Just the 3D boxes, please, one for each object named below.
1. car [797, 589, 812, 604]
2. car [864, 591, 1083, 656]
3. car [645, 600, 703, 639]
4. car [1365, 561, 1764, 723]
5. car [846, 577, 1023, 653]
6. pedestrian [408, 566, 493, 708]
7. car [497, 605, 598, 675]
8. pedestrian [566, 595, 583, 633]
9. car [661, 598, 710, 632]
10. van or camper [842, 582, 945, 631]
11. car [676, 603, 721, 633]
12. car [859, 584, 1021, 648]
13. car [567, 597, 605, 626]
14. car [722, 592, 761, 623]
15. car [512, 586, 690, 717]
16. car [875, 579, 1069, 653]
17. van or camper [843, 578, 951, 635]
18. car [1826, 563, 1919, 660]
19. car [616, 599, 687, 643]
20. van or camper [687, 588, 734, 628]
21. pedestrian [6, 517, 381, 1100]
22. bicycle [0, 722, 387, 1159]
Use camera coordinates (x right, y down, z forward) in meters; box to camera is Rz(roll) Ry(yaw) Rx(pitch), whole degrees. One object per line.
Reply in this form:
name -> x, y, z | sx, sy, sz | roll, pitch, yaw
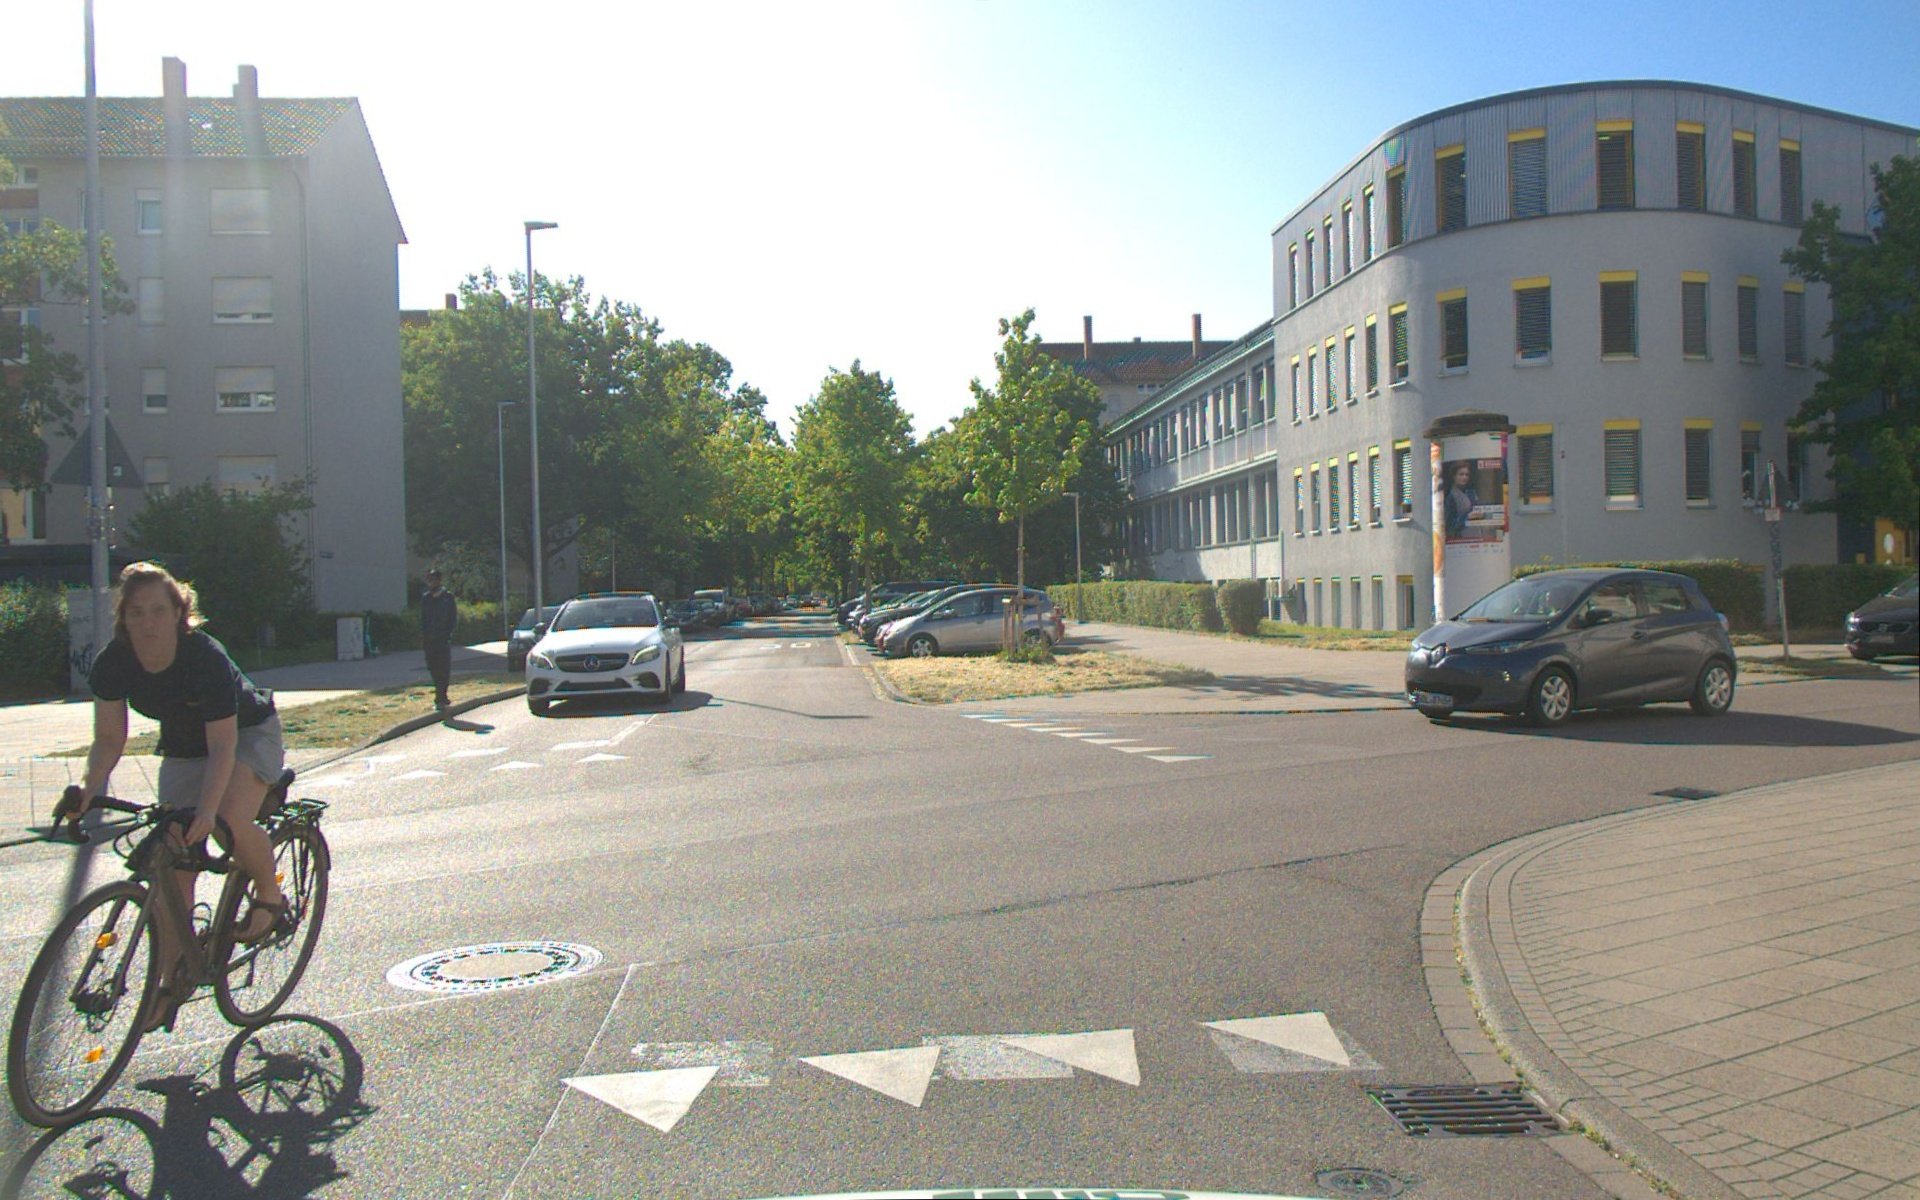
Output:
car -> -20.204, -0.458, 214.912 | 1.955, 1.777, 3.996 | -1, 1, -5
car -> 0.277, 0.523, 37.947 | 4.780, 1.296, 1.725 | -2, 0, -9
car -> -11.158, 0.756, 64.721 | 1.806, 1.422, 3.997 | -1, 0, -4
car -> 6.419, 0.390, 17.489 | 4.081, 1.530, 1.824 | 0, 0, -31
car -> -0.679, 0.375, 41.068 | 4.198, 1.795, 1.997 | 1, -1, -7
pedestrian -> -6.484, 0.459, 21.106 | 0.854, 1.744, 0.977 | -1, 0, -8
car -> -9.037, 0.842, 36.522 | 1.635, 1.445, 3.994 | 1, 0, -7
pedestrian -> -17.080, 0.620, 73.303 | 0.622, 1.693, 0.698 | -1, 0, -10
car -> -12.136, 0.647, 73.309 | 1.956, 1.432, 3.902 | 1, -1, -7
van or camper -> -2.607, 0.249, 64.321 | 3.909, 1.803, 1.998 | -1, 0, -6
car -> -12.812, 0.868, 81.127 | 1.806, 1.422, 3.997 | -1, 0, -4
car -> -0.556, 0.429, 43.908 | 4.123, 1.624, 1.997 | 1, -1, -7
car -> -17.318, 0.508, 76.713 | 1.248, 1.246, 2.662 | -2, 1, -3
car -> -15.124, 0.536, 114.582 | 1.952, 2.049, 4.001 | 1, -1, 3
car -> -4.744, 0.605, 22.440 | 1.849, 1.531, 4.632 | -2, 0, -6
car -> 0.230, 0.338, 35.899 | 4.012, 1.518, 1.725 | -1, 0, -8
van or camper -> -2.380, 0.251, 61.556 | 3.909, 2.049, 1.998 | -1, -1, -6
car -> 15.827, 0.122, 26.348 | 4.170, 1.435, 1.775 | -2, 1, -33
car -> -10.661, 0.705, 57.413 | 1.954, 1.422, 3.997 | -1, 0, -4
van or camper -> -13.149, 0.463, 87.246 | 1.953, 2.049, 3.998 | 1, -1, -2
pedestrian -> -2.391, 0.602, 5.291 | 0.676, 1.669, 1.046 | 1, -1, 1
bicycle -> -2.463, 0.979, 5.366 | 0.537, 1.029, 1.919 | -1, -1, 0
